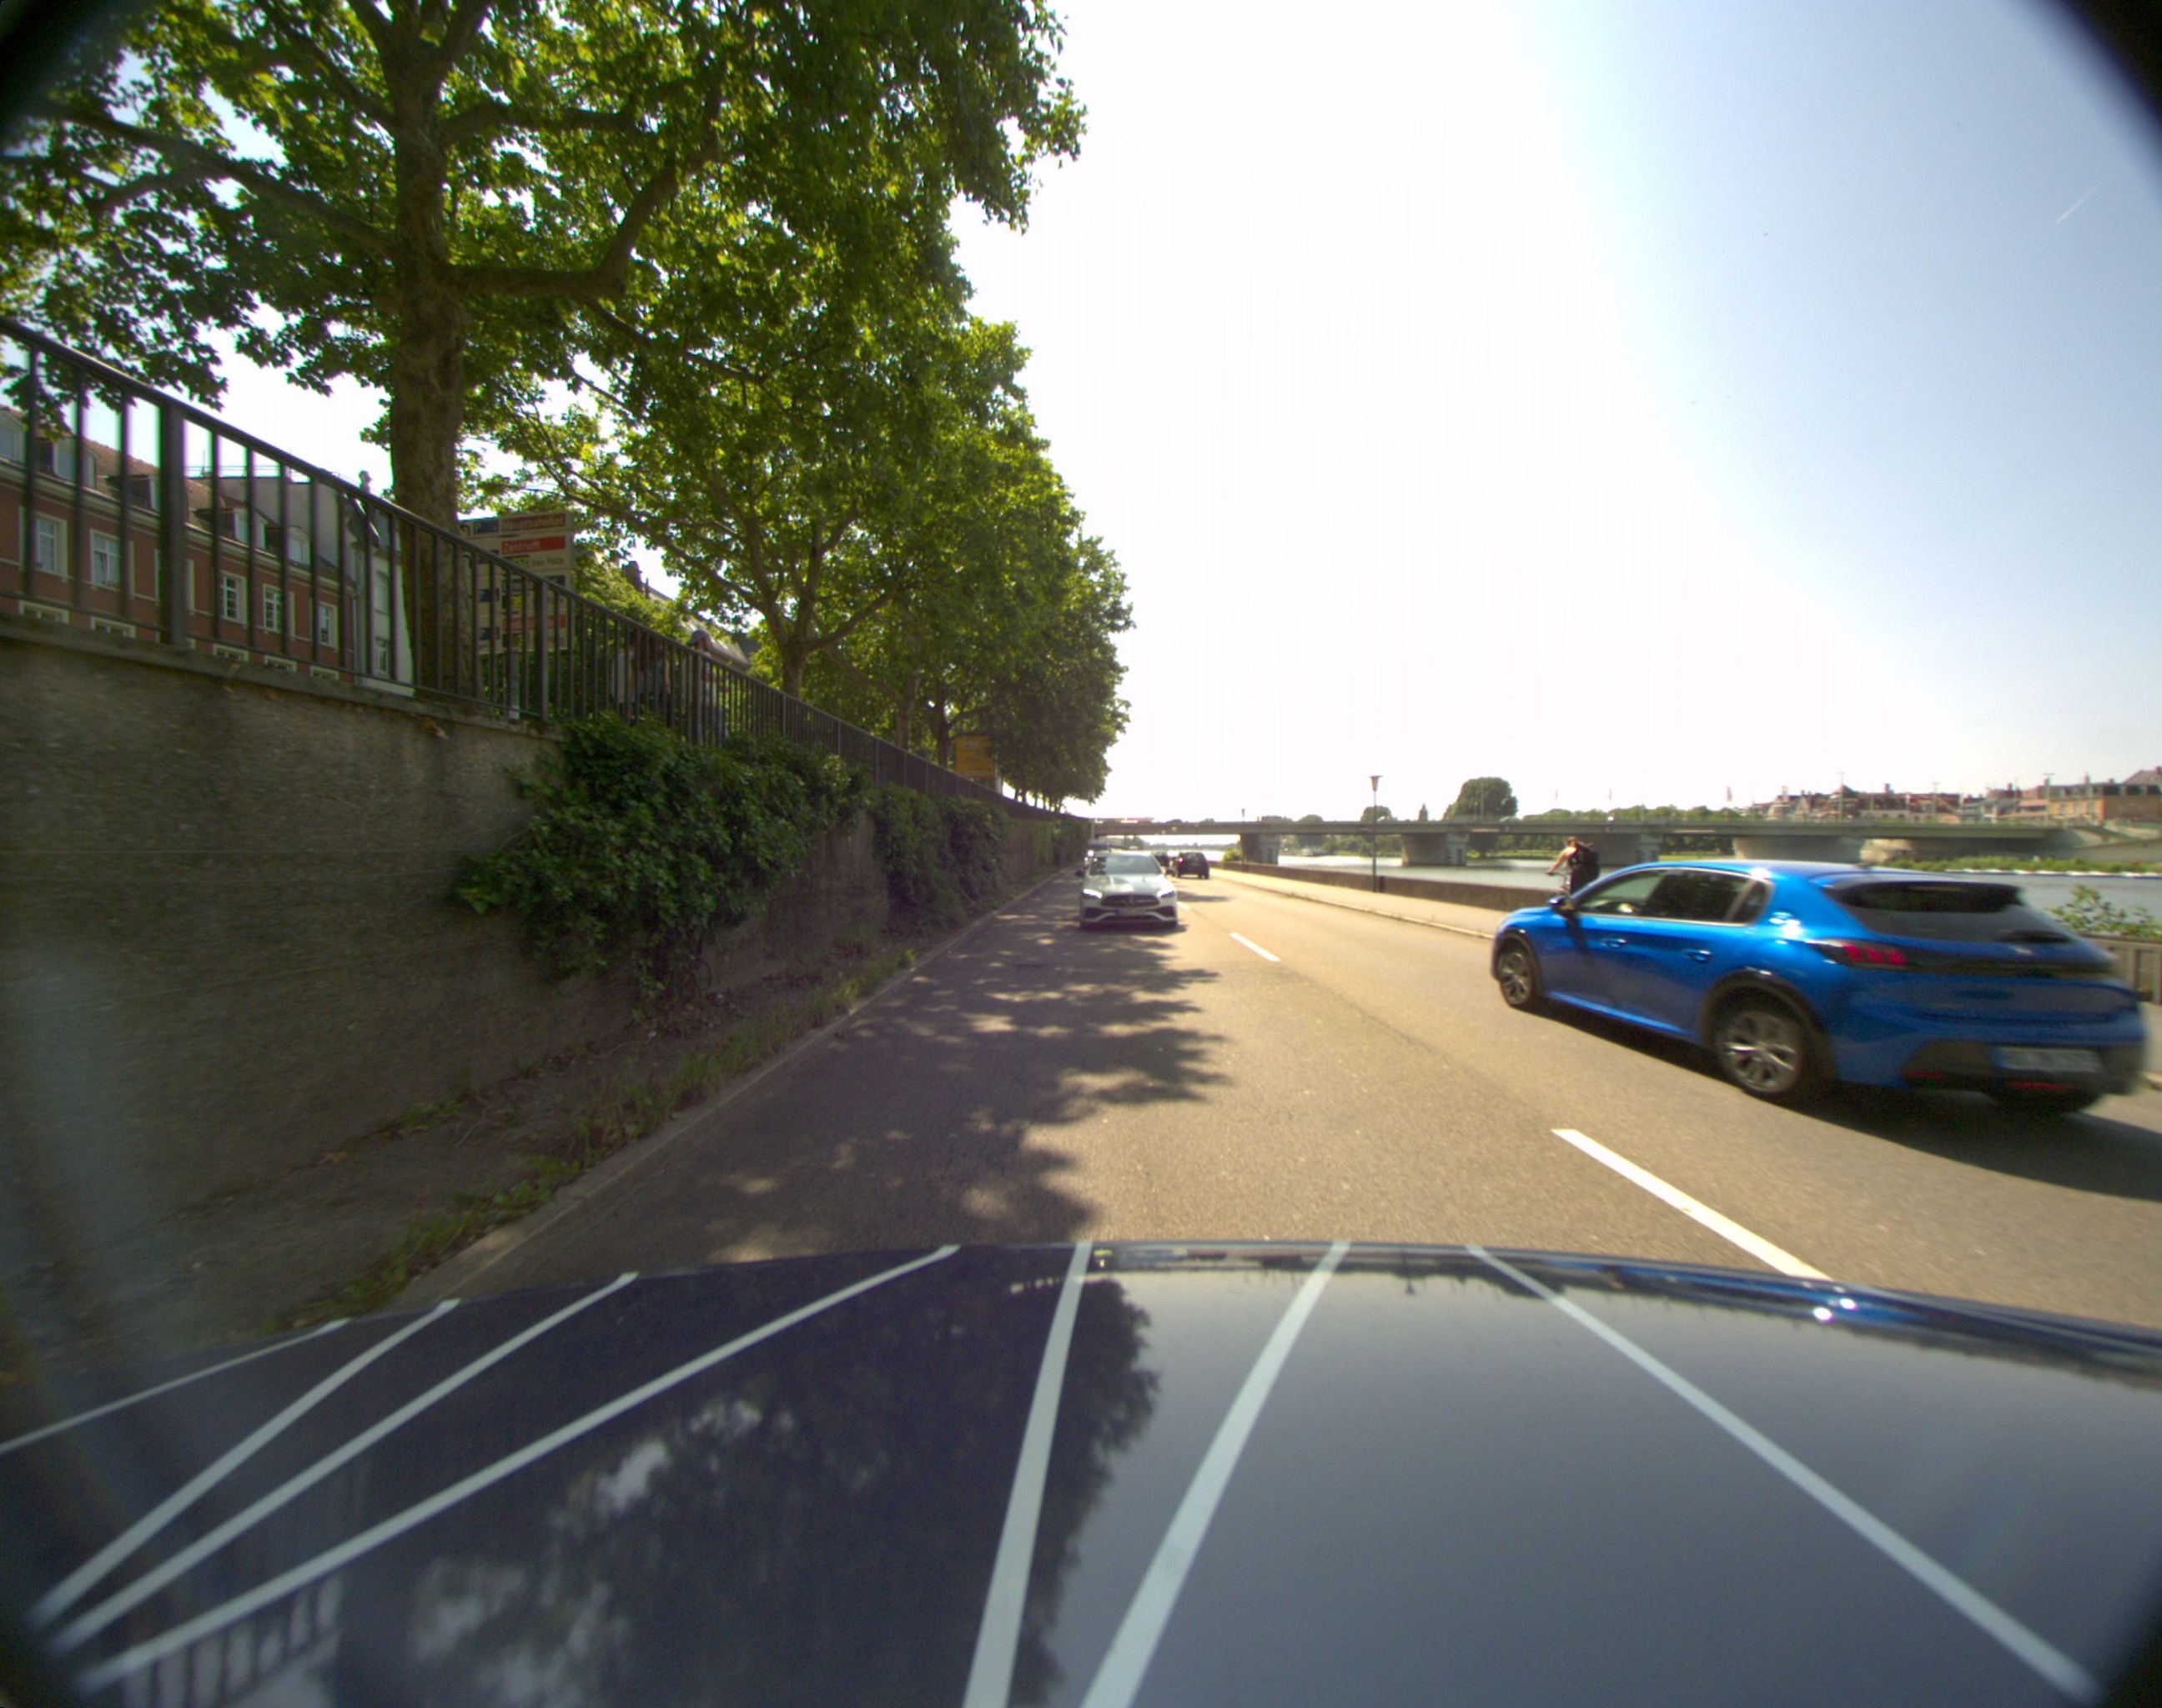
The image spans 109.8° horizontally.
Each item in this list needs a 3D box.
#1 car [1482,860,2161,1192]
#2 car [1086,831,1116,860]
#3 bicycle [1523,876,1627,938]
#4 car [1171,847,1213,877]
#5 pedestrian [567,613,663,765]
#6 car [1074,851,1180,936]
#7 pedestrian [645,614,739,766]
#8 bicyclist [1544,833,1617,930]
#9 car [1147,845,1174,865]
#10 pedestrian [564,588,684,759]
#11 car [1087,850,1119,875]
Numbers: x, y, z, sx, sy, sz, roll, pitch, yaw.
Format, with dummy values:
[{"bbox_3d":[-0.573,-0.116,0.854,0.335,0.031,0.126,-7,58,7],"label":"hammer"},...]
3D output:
[{"bbox_3d":[4.790,0.825,5.482,1.676,1.433,3.901,2,1,0],"label":"car"},{"bbox_3d":[1.644,-0.759,65.573,2.351,2.429,6.207,0,1,0],"label":"car"},{"bbox_3d":[8.987,0.932,13.918,0.654,0.977,1.943,-1,1,1],"label":"bicycle"},{"bbox_3d":[5.921,0.374,40.941,1.670,1.482,3.725,2,1,0],"label":"car"},{"bbox_3d":[-5.273,-1.839,8.632,0.666,1.582,0.650,0,1,0],"label":"pedestrian"},{"bbox_3d":[0.834,0.687,15.668,1.830,1.411,4.551,-1,1,1],"label":"car"},{"bbox_3d":[-4.423,-1.837,8.693,0.666,1.582,0.764,0,1,0],"label":"pedestrian"},{"bbox_3d":[8.972,0.471,13.683,0.663,1.692,0.975,-1,1,1],"label":"bicyclist"},{"bbox_3d":[6.371,0.063,61.078,1.733,1.565,3.999,1,1,1],"label":"car"},{"bbox_3d":[-4.714,-1.826,7.897,0.738,1.582,0.810,0,1,0],"label":"pedestrian"},{"bbox_3d":[1.232,0.454,45.019,1.756,1.385,4.618,0,1,0],"label":"car"}]
